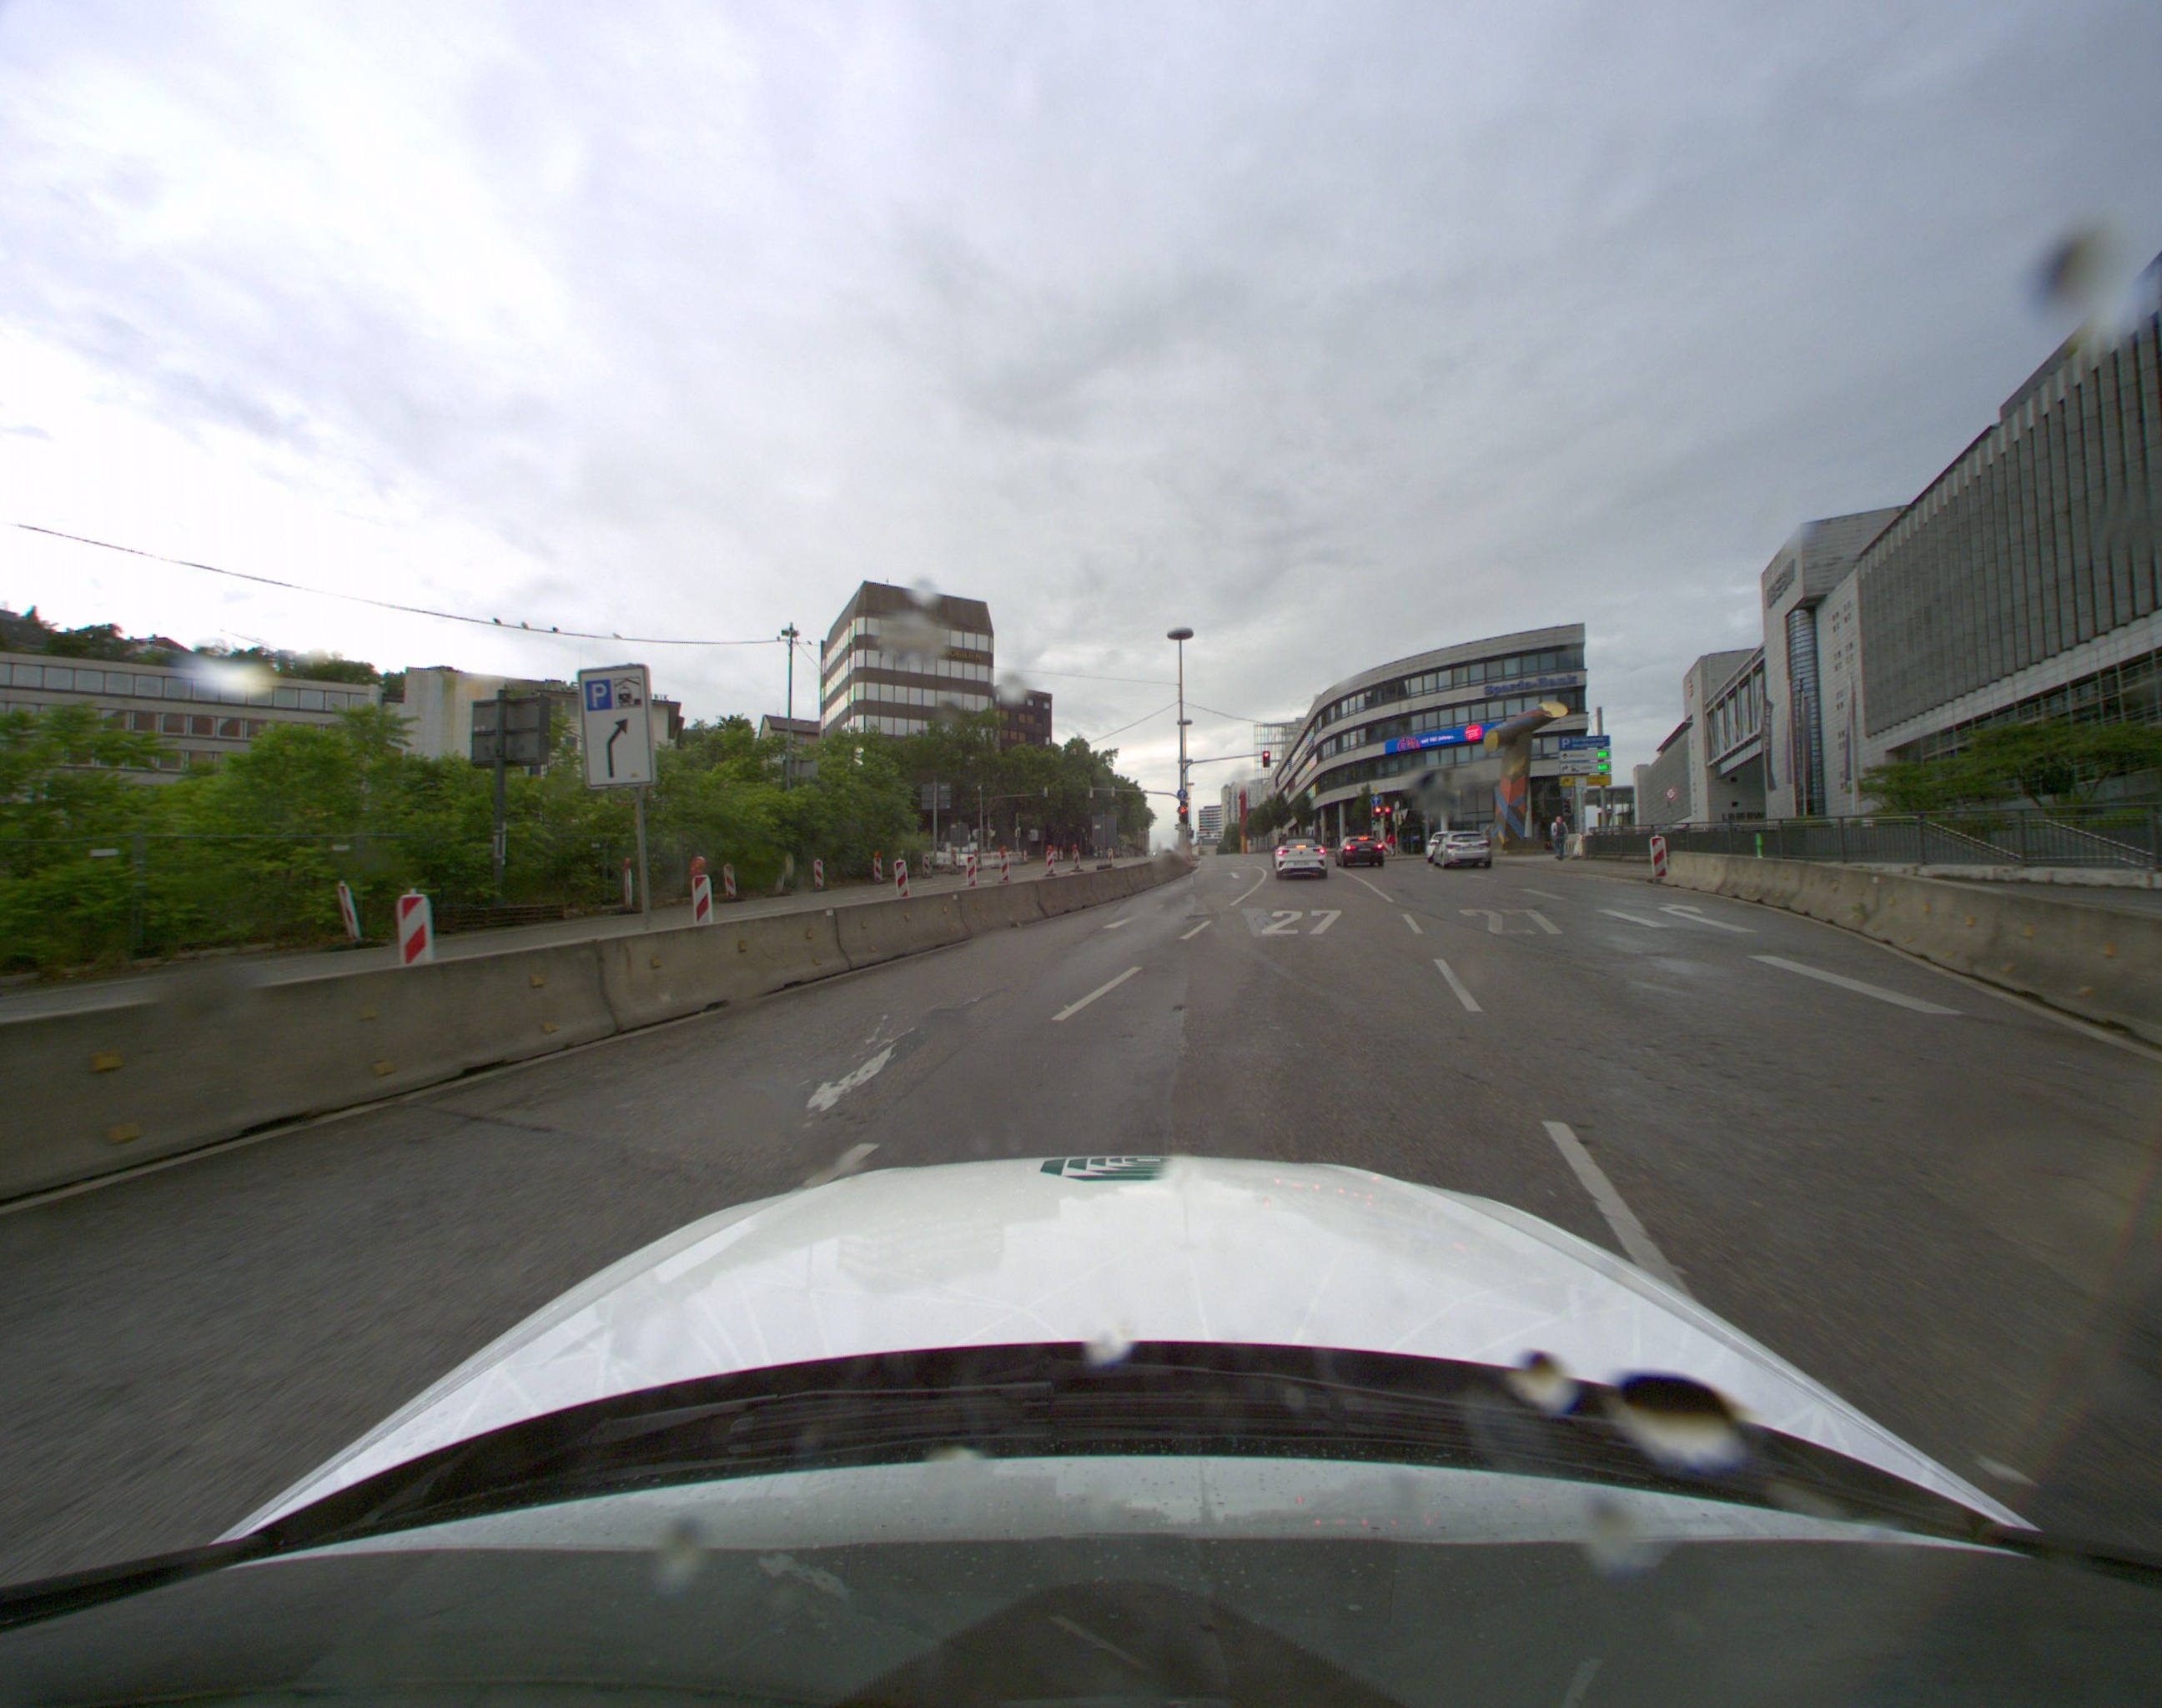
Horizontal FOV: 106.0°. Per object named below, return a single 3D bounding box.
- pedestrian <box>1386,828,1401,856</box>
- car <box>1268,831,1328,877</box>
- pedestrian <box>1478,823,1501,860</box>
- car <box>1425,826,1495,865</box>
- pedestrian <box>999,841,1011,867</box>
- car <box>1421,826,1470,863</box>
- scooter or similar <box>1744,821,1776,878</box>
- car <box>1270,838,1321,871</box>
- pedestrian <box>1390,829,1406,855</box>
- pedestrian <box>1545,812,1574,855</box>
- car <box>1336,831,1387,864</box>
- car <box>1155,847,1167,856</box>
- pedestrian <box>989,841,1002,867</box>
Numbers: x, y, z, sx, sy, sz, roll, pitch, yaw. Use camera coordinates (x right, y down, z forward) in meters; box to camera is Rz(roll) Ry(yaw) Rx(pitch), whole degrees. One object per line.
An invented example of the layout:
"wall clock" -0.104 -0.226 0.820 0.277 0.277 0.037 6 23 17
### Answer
"pedestrian" 22.462 -0.843 58.529 0.832 1.905 0.866 -2 -3 35
"car" 7.962 -0.006 30.065 1.950 1.548 4.234 -1 0 14
"pedestrian" 23.871 -0.728 47.599 0.853 2.098 0.900 1 0 -14
"car" 15.270 -0.303 33.052 1.688 1.451 4.633 -1 -1 14
"pedestrian" -5.605 -0.015 60.314 0.668 1.902 0.778 -1 -2 11
"car" 17.611 -0.460 39.230 1.754 1.634 4.609 -1 0 29
"scooter or similar" 14.167 -0.092 16.995 0.346 1.162 0.576 -2 -1 24
"car" 10.078 0.033 38.452 1.731 1.443 4.007 -1 0 6
"pedestrian" 23.036 -0.863 59.161 0.832 1.904 0.736 -2 -1 35
"pedestrian" 19.567 -0.825 33.332 0.725 1.711 0.845 -1 -2 8
"car" 12.895 -0.257 37.610 1.743 1.407 4.241 0 -1 12
"car" 13.763 -0.379 140.180 1.751 1.460 4.370 -2 0 8
"pedestrian" -6.320 -0.017 60.509 0.756 1.923 0.744 -1 -2 11
